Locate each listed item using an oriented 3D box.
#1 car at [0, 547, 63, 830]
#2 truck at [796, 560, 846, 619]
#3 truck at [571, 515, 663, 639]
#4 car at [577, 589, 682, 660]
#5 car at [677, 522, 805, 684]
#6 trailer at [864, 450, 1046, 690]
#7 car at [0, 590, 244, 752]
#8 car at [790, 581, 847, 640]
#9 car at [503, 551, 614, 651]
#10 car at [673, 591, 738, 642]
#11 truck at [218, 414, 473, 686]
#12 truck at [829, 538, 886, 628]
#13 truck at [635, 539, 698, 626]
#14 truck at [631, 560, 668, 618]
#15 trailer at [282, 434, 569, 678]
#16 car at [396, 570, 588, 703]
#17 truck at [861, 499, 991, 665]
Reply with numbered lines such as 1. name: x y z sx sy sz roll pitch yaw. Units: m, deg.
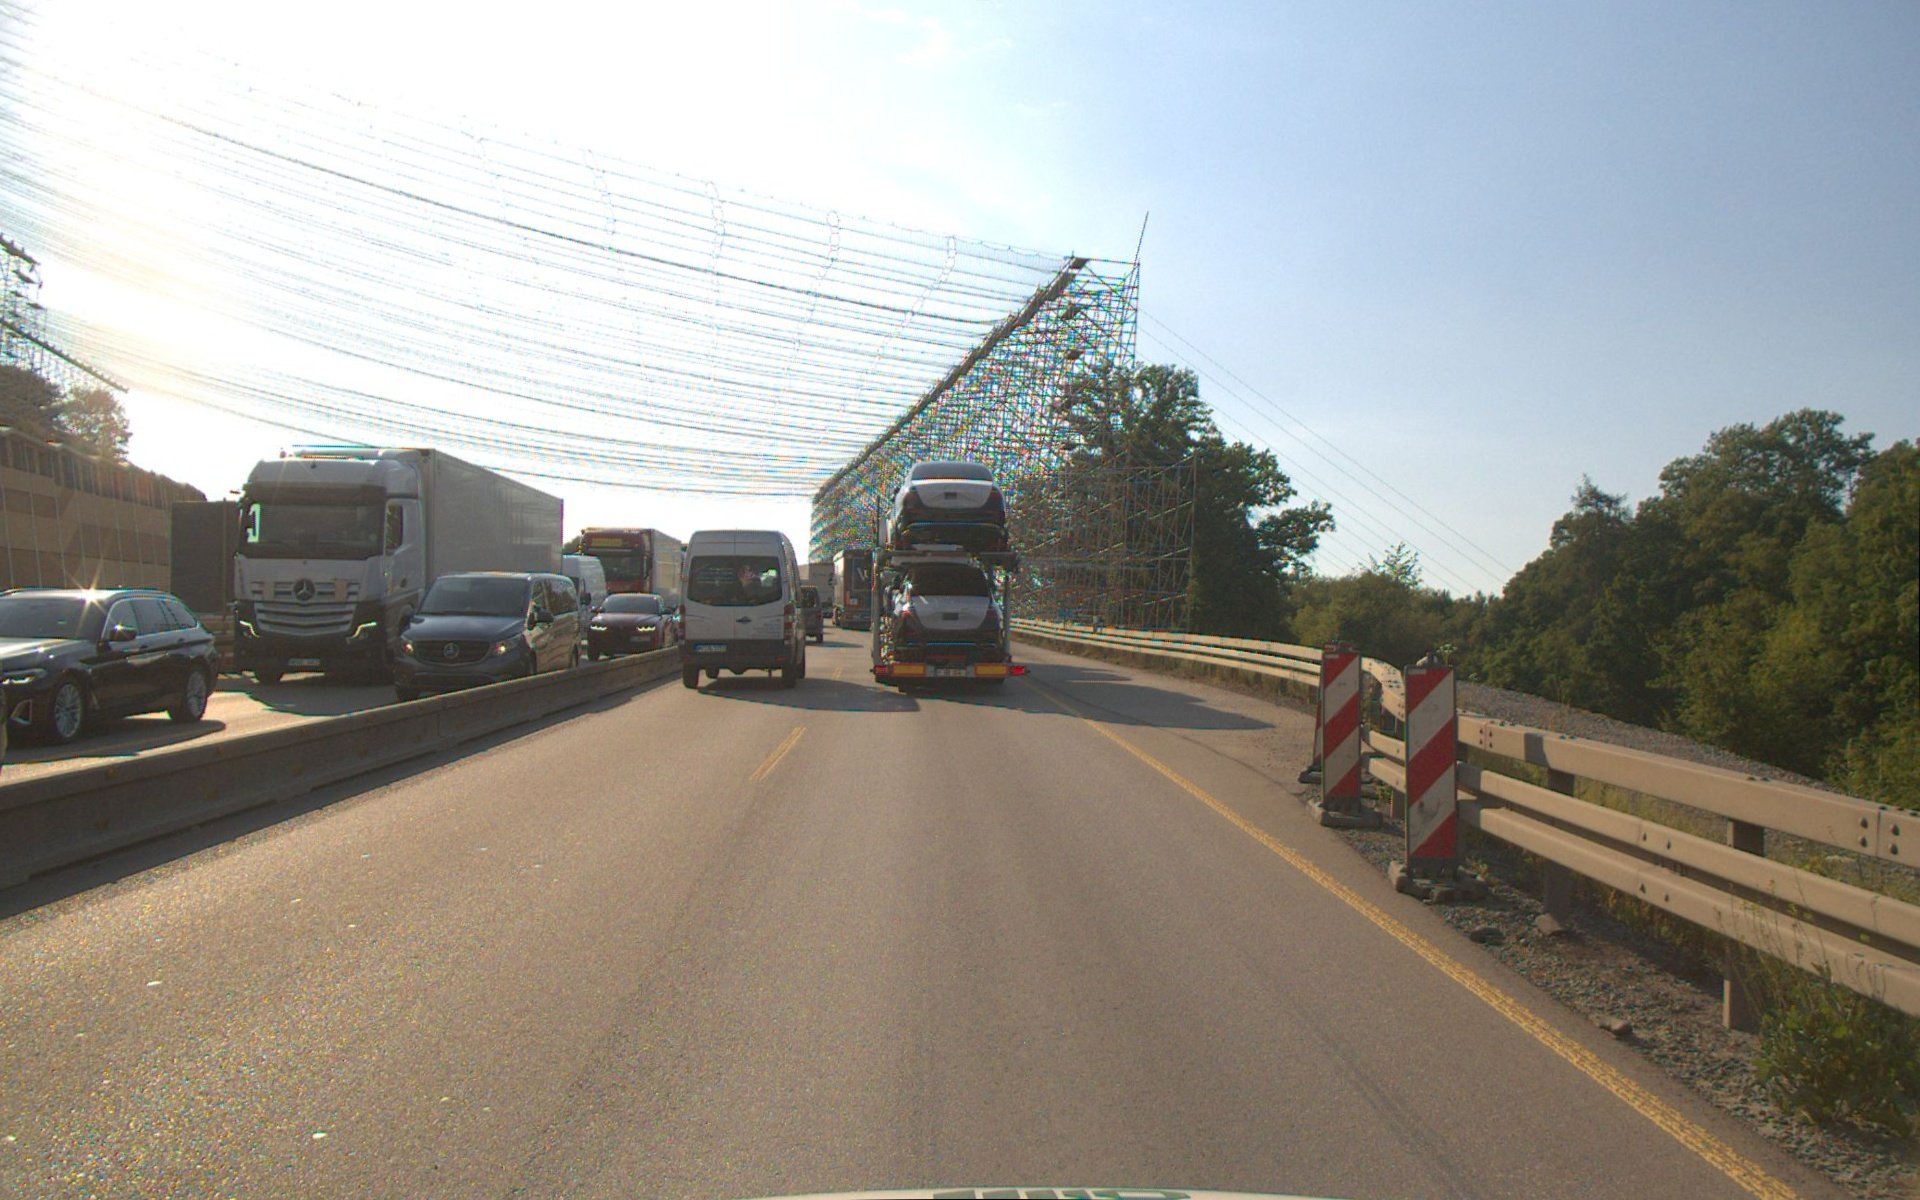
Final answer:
1. car: -6.318 0.553 7.649 1.780 1.606 4.754 -1 1 -1
2. truck: -10.983 -0.848 130.949 3.615 4.294 13.655 -2 1 -5
3. truck: -12.706 -0.806 61.755 2.692 4.375 5.926 1 0 -6
4. car: -8.166 0.576 41.247 1.850 1.595 4.453 2 1 -3
5. car: -3.787 0.065 29.204 1.917 2.667 3.997 0 -1 -3
6. trailer: -0.499 -0.445 33.861 2.812 3.790 14.935 1 0 -4
7. car: -9.428 0.658 17.571 1.708 1.486 4.711 0 0 -2
8. car: -5.085 0.379 59.892 1.954 2.049 3.997 1 -1 -4
9. car: -11.893 -0.027 49.471 1.982 2.737 6.944 2 1 -4
10. car: -9.148 0.557 59.813 1.832 1.616 4.800 3 1 -4
11. truck: -10.587 -0.780 29.110 2.659 4.292 5.677 1 0 -4
12. truck: -5.391 -0.892 88.762 2.677 4.462 11.516 2 0 -2
13. truck: -14.734 -0.832 83.344 2.734 4.214 5.925 1 0 -7
14. truck: -23.710 -0.806 126.117 2.616 4.304 6.086 1 0 -12
15. trailer: -11.078 -0.758 36.160 2.667 4.292 13.737 1 0 -4
16. car: -7.080 0.462 25.610 1.769 1.803 5.449 1 1 -4
17. truck: -0.984 -0.395 41.426 2.825 3.767 7.318 1 0 -4
